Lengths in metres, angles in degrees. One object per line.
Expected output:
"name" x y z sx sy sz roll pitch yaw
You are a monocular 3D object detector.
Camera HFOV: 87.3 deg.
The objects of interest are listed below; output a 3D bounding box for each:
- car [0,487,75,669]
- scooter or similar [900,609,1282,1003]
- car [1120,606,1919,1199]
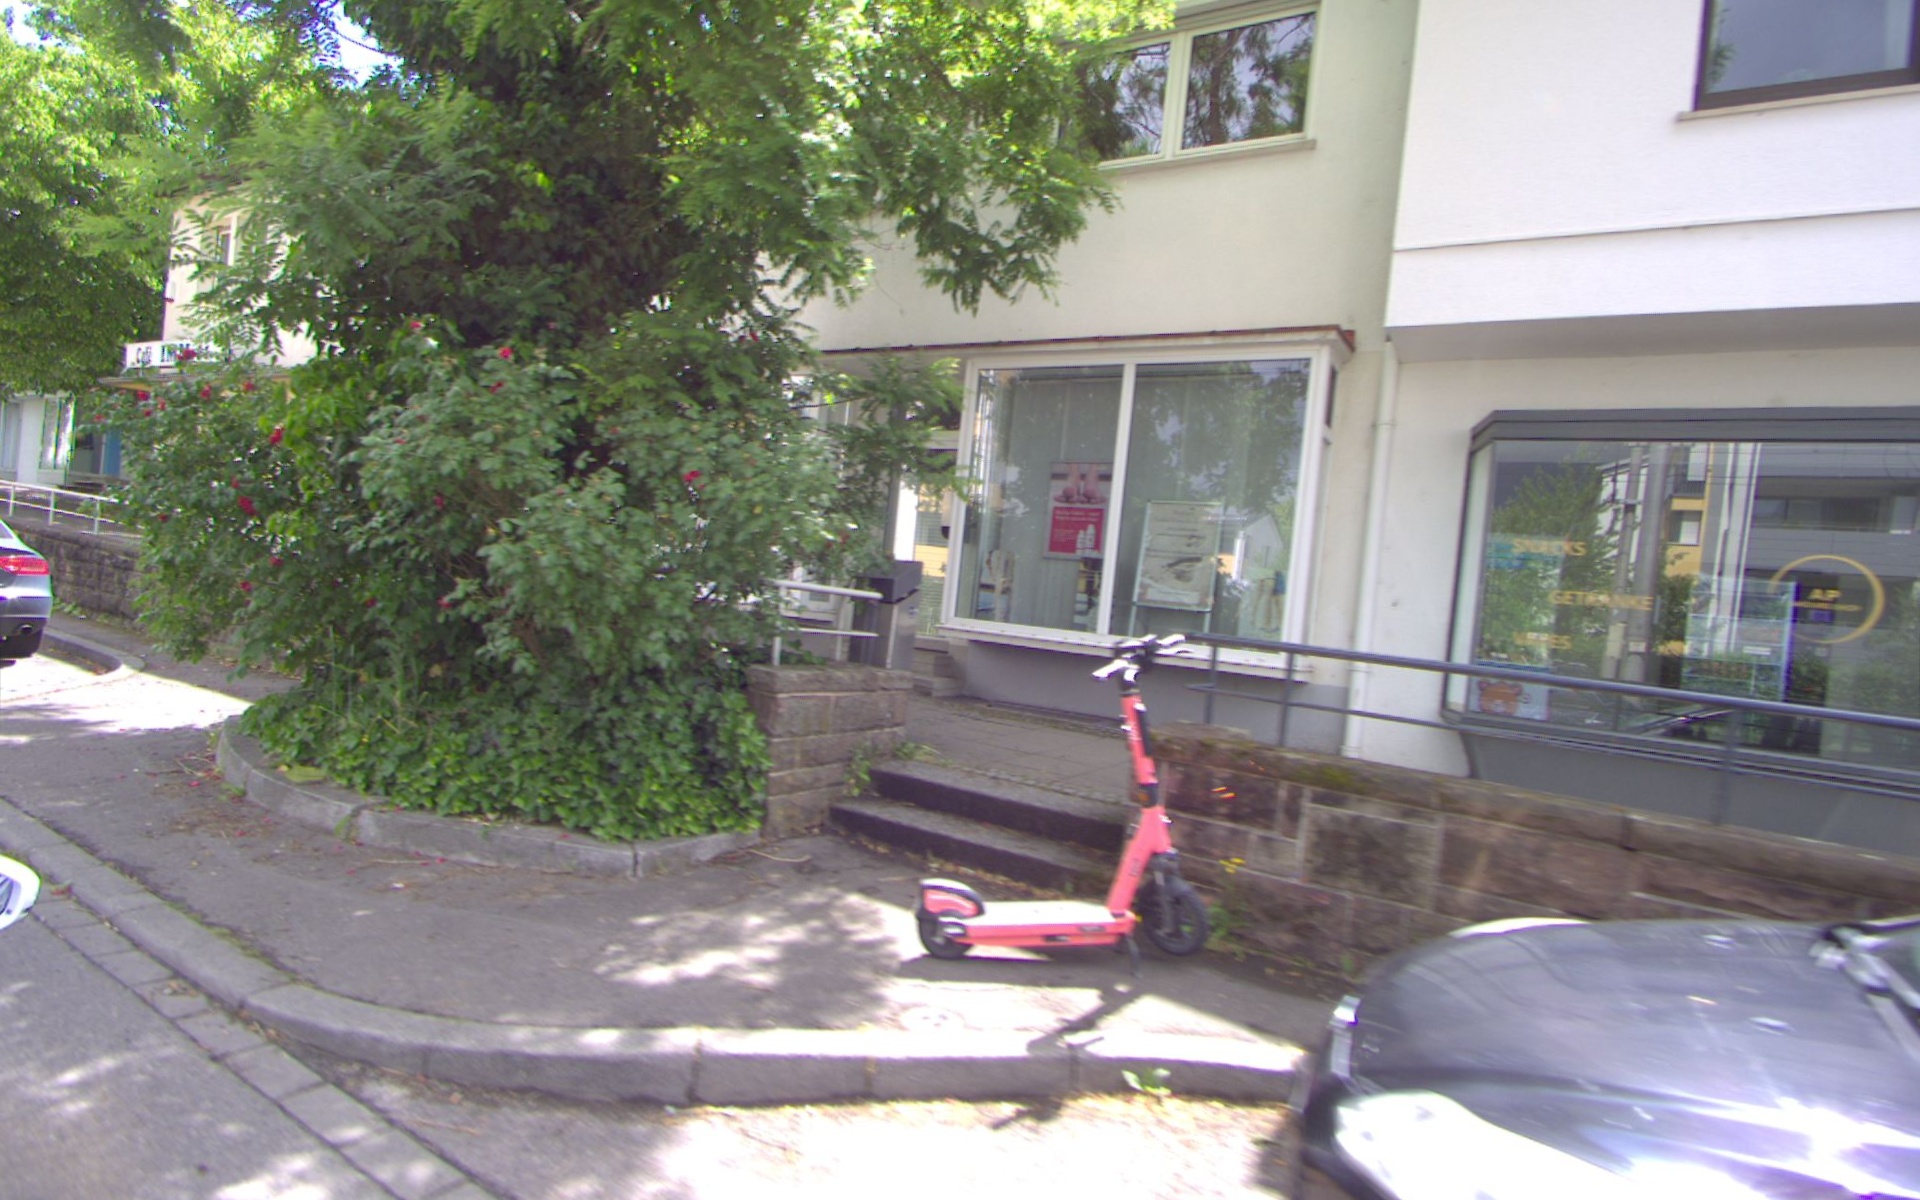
"car" -9.837 -0.412 8.837 4.418 1.461 1.757 7 1 31
"scooter or similar" 0.450 0.739 3.806 1.214 1.259 0.535 7 2 -4
"car" 2.493 1.019 1.245 4.171 1.525 1.836 7 1 31
